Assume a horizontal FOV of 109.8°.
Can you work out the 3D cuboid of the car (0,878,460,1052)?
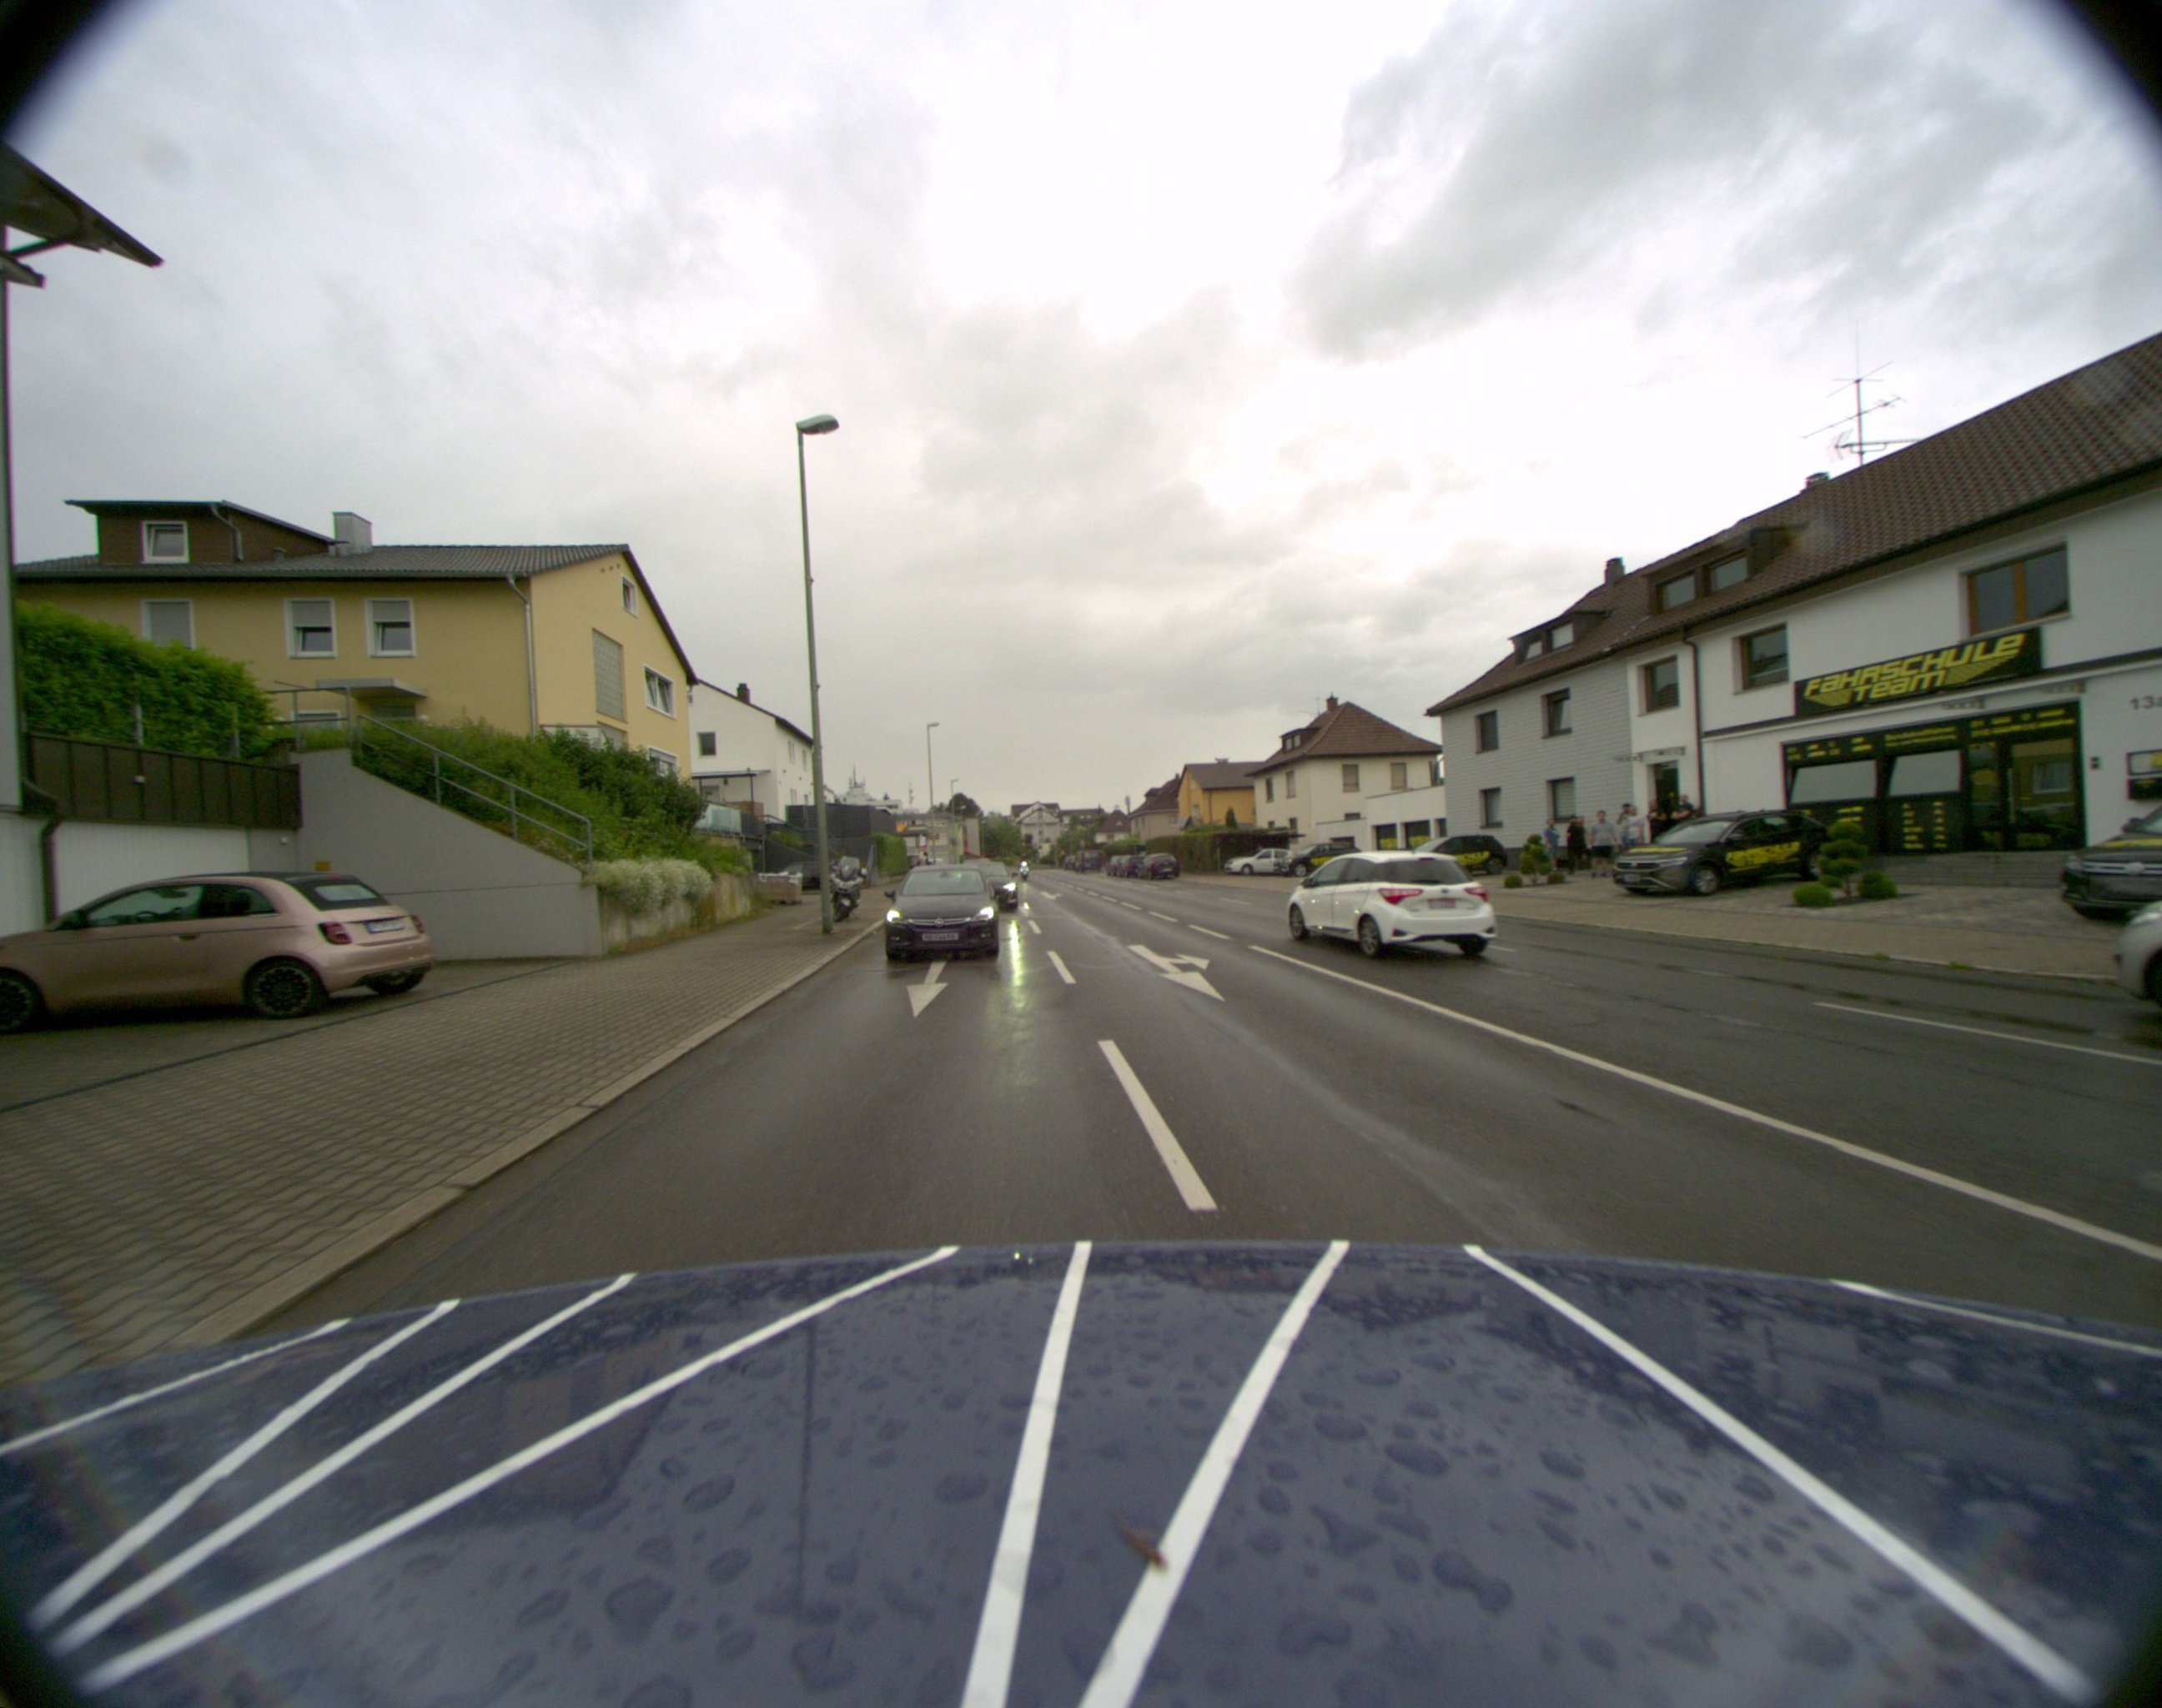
[{"bbox_3d":[-9.475,1.112,8.332,3.644,1.477,1.811,-2,1,-10],"label":"car"}]

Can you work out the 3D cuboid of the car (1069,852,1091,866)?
[{"bbox_3d":[-0.145,0.504,81.662,1.889,1.477,3.997,-1,1,-6],"label":"car"}]

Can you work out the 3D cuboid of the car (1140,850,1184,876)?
[{"bbox_3d":[4.731,0.490,45.076,1.810,1.407,3.997,-1,1,-6],"label":"car"}]

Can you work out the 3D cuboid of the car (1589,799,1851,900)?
[{"bbox_3d":[13.422,-0.097,16.111,3.998,1.555,1.872,-7,0,-5],"label":"car"}]

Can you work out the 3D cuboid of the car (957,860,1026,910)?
[{"bbox_3d":[-2.810,0.960,24.324,1.911,1.389,4.855,-2,-1,-6],"label":"car"}]

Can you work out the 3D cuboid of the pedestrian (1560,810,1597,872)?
[{"bbox_3d":[14.820,-0.381,22.649,0.652,1.776,0.648,-4,0,18],"label":"pedestrian"}]

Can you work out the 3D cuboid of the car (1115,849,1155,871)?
[{"bbox_3d":[3.549,0.370,50.916,1.810,1.407,3.996,-1,1,-9],"label":"car"}]

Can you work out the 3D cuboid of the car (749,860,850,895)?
[{"bbox_3d":[-12.487,1.018,33.961,4.001,1.395,1.671,-1,1,-13],"label":"car"}]

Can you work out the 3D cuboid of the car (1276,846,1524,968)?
[{"bbox_3d":[4.625,0.662,11.732,1.838,1.521,3.997,-1,1,-6],"label":"car"}]

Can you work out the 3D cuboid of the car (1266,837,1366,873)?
[{"bbox_3d":[11.146,0.039,36.175,4.111,1.412,1.883,-3,1,-6],"label":"car"}]

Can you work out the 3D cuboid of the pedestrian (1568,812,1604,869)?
[{"bbox_3d":[15.595,-0.402,23.477,0.588,1.698,0.561,-6,1,-8],"label":"pedestrian"}]

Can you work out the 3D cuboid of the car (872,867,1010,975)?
[{"bbox_3d":[-2.204,0.998,12.955,1.841,1.390,3.998,-1,1,-4],"label":"car"}]

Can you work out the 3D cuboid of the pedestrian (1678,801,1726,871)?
[{"bbox_3d":[15.477,-0.451,18.949,0.674,1.661,0.691,-5,2,24],"label":"pedestrian"}]

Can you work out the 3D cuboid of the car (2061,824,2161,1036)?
[{"bbox_3d":[9.048,0.572,4.189,1.810,1.559,4.140,-2,1,-6],"label":"car"}]

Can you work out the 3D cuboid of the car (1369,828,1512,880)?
[{"bbox_3d":[12.293,-0.025,26.133,3.999,1.412,1.883,-4,1,-6],"label":"car"}]

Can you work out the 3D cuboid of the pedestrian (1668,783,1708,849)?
[{"bbox_3d":[15.922,-0.991,19.945,0.517,1.661,0.512,-5,1,0],"label":"pedestrian"}]

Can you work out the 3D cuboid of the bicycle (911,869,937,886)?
[{"bbox_3d":[-8.367,1.235,40.577,0.733,0.822,2.234,-1,1,4],"label":"bicycle"}]

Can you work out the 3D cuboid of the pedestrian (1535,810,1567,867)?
[{"bbox_3d":[14.968,-0.489,24.197,0.447,1.743,0.689,-5,1,-5],"label":"pedestrian"}]

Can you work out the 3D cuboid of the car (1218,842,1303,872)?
[{"bbox_3d":[9.892,0.200,41.996,4.114,1.475,1.838,2,-1,-13],"label":"car"}]

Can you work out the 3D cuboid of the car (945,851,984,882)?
[{"bbox_3d":[-6.259,0.729,41.180,1.841,1.448,4.000,-1,-3,-6],"label":"car"}]

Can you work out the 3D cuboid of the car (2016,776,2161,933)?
[{"bbox_3d":[14.398,-0.167,9.216,4.192,1.711,1.738,-6,1,-5],"label":"car"}]

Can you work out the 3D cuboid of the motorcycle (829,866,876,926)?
[{"bbox_3d":[-5.627,0.996,18.865,0.694,1.317,2.477,-1,1,-7],"label":"motorcycle"}]

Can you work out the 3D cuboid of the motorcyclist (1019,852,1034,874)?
[{"bbox_3d":[-3.646,0.620,51.103,0.953,1.413,0.992,-2,1,-4],"label":"motorcyclist"}]

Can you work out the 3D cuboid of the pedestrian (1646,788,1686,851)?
[{"bbox_3d":[16.158,-0.938,20.995,0.575,1.661,0.551,-6,1,-8],"label":"pedestrian"}]

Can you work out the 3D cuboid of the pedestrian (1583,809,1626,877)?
[{"bbox_3d":[14.227,-0.303,20.672,0.670,1.778,0.539,-5,1,-2],"label":"pedestrian"}]

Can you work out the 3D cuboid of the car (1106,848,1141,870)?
[{"bbox_3d":[3.098,0.345,56.172,1.810,1.505,3.996,-1,1,-9],"label":"car"}]

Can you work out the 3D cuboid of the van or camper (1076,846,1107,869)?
[{"bbox_3d":[0.955,0.318,71.032,2.191,2.002,5.130,-2,1,-7],"label":"van or camper"}]

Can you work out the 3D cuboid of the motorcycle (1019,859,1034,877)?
[{"bbox_3d":[-3.650,0.926,51.056,0.944,1.101,2.405,-2,1,-4],"label":"motorcycle"}]

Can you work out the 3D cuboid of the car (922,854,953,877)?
[{"bbox_3d":[-10.003,0.752,53.211,1.738,1.481,3.997,-1,1,-6],"label":"car"}]

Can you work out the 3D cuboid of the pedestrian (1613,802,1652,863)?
[{"bbox_3d":[15.765,-0.615,21.735,0.584,1.661,0.575,-6,1,-8],"label":"pedestrian"}]

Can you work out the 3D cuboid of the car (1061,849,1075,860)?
[{"bbox_3d":[-2.138,0.062,126.775,1.999,1.565,3.997,-2,1,-6],"label":"car"}]

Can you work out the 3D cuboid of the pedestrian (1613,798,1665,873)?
[{"bbox_3d":[14.658,-0.483,19.977,0.734,1.856,0.686,-5,1,0],"label":"pedestrian"}]

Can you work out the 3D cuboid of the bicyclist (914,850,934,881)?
[{"bbox_3d":[-8.376,0.623,40.638,0.809,1.633,0.906,-1,1,3],"label":"bicyclist"}]
